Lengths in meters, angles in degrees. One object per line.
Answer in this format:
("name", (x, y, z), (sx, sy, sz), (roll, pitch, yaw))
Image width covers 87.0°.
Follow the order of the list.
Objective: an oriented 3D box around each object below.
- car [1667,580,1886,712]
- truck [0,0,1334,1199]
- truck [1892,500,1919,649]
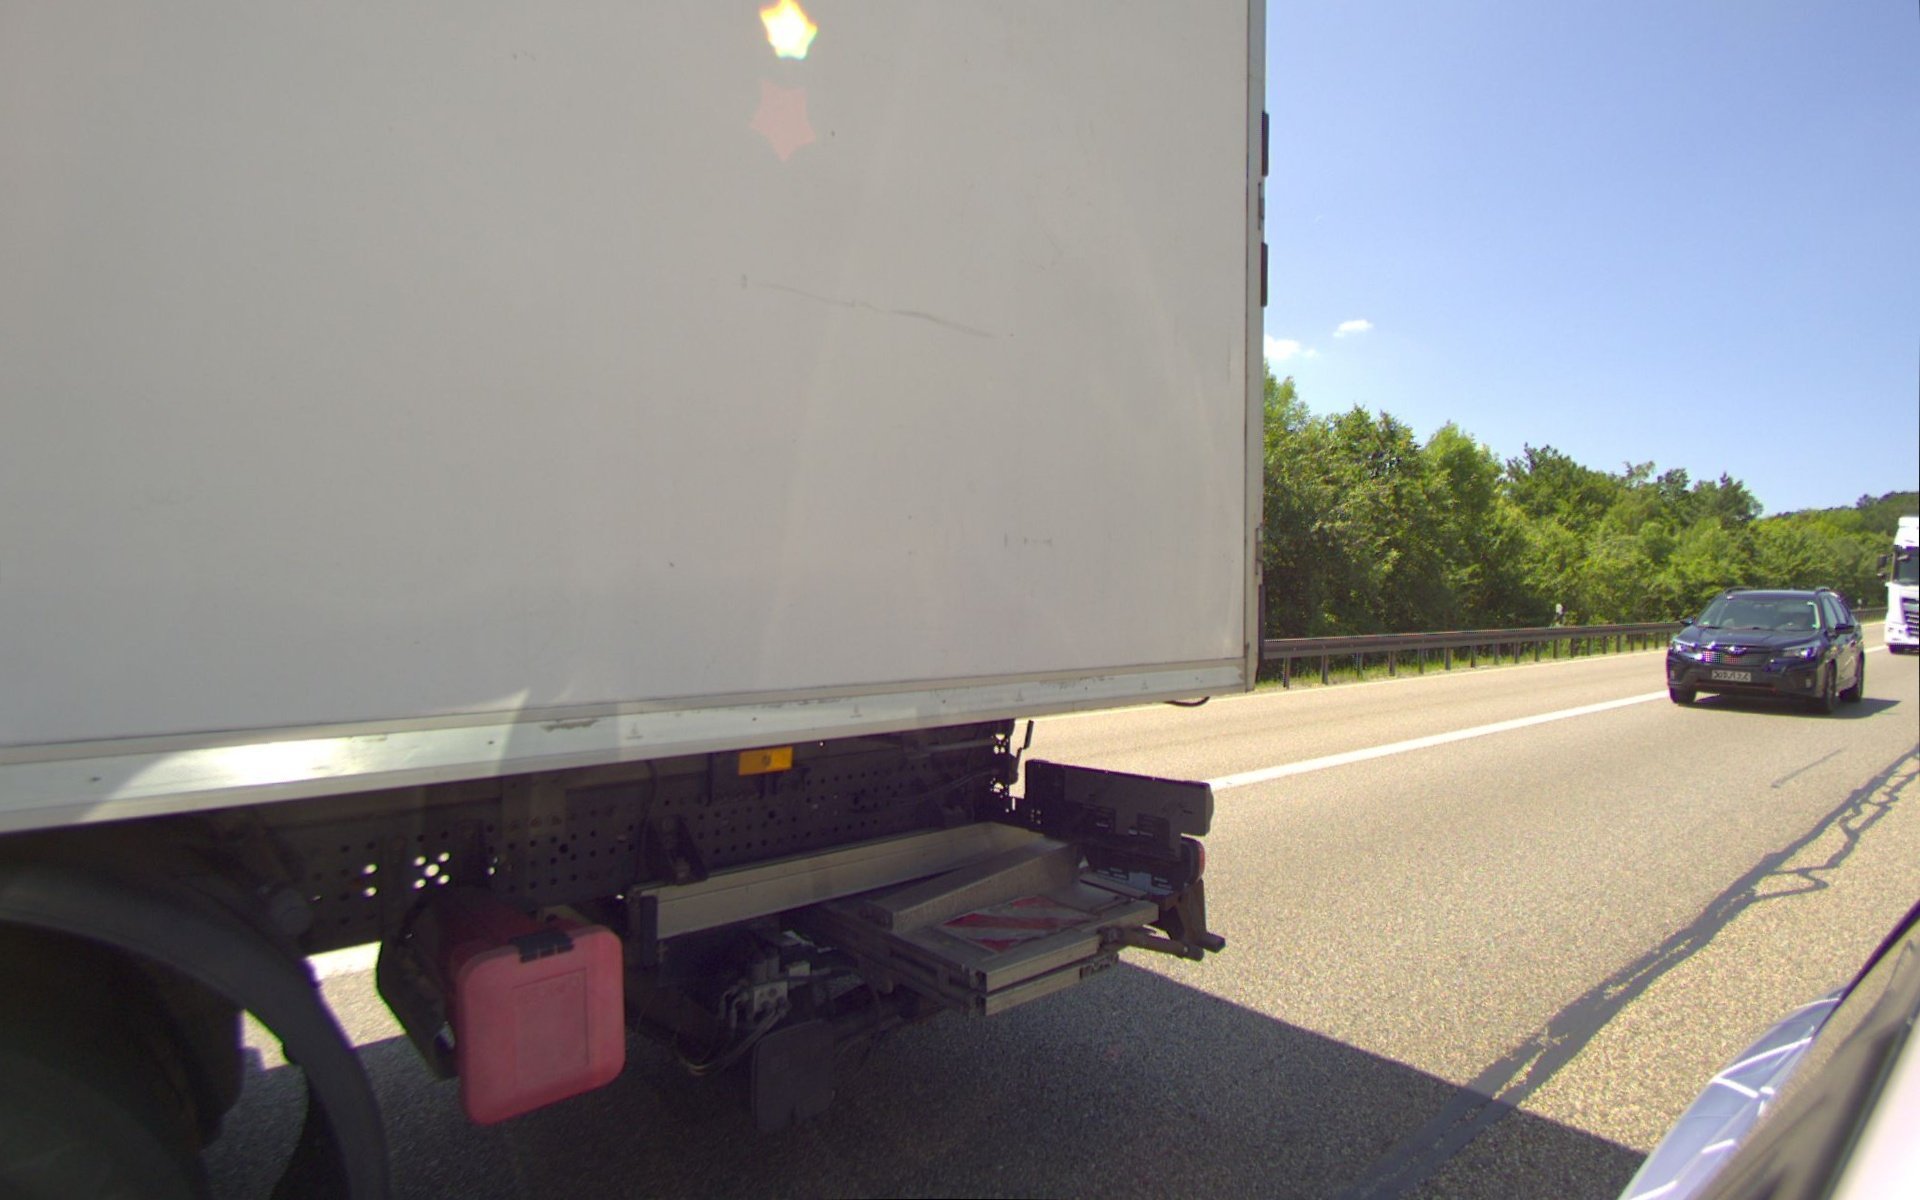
("car", (12.122, 0.567, 14.940), (4.130, 1.688, 1.815), (0, 1, -41))
("truck", (-3.494, -0.594, 0.661), (9.610, 3.923, 2.694), (0, 4, -41))
("truck", (33.725, -0.744, 33.246), (15.982, 4.221, 2.788), (0, 1, -41))
